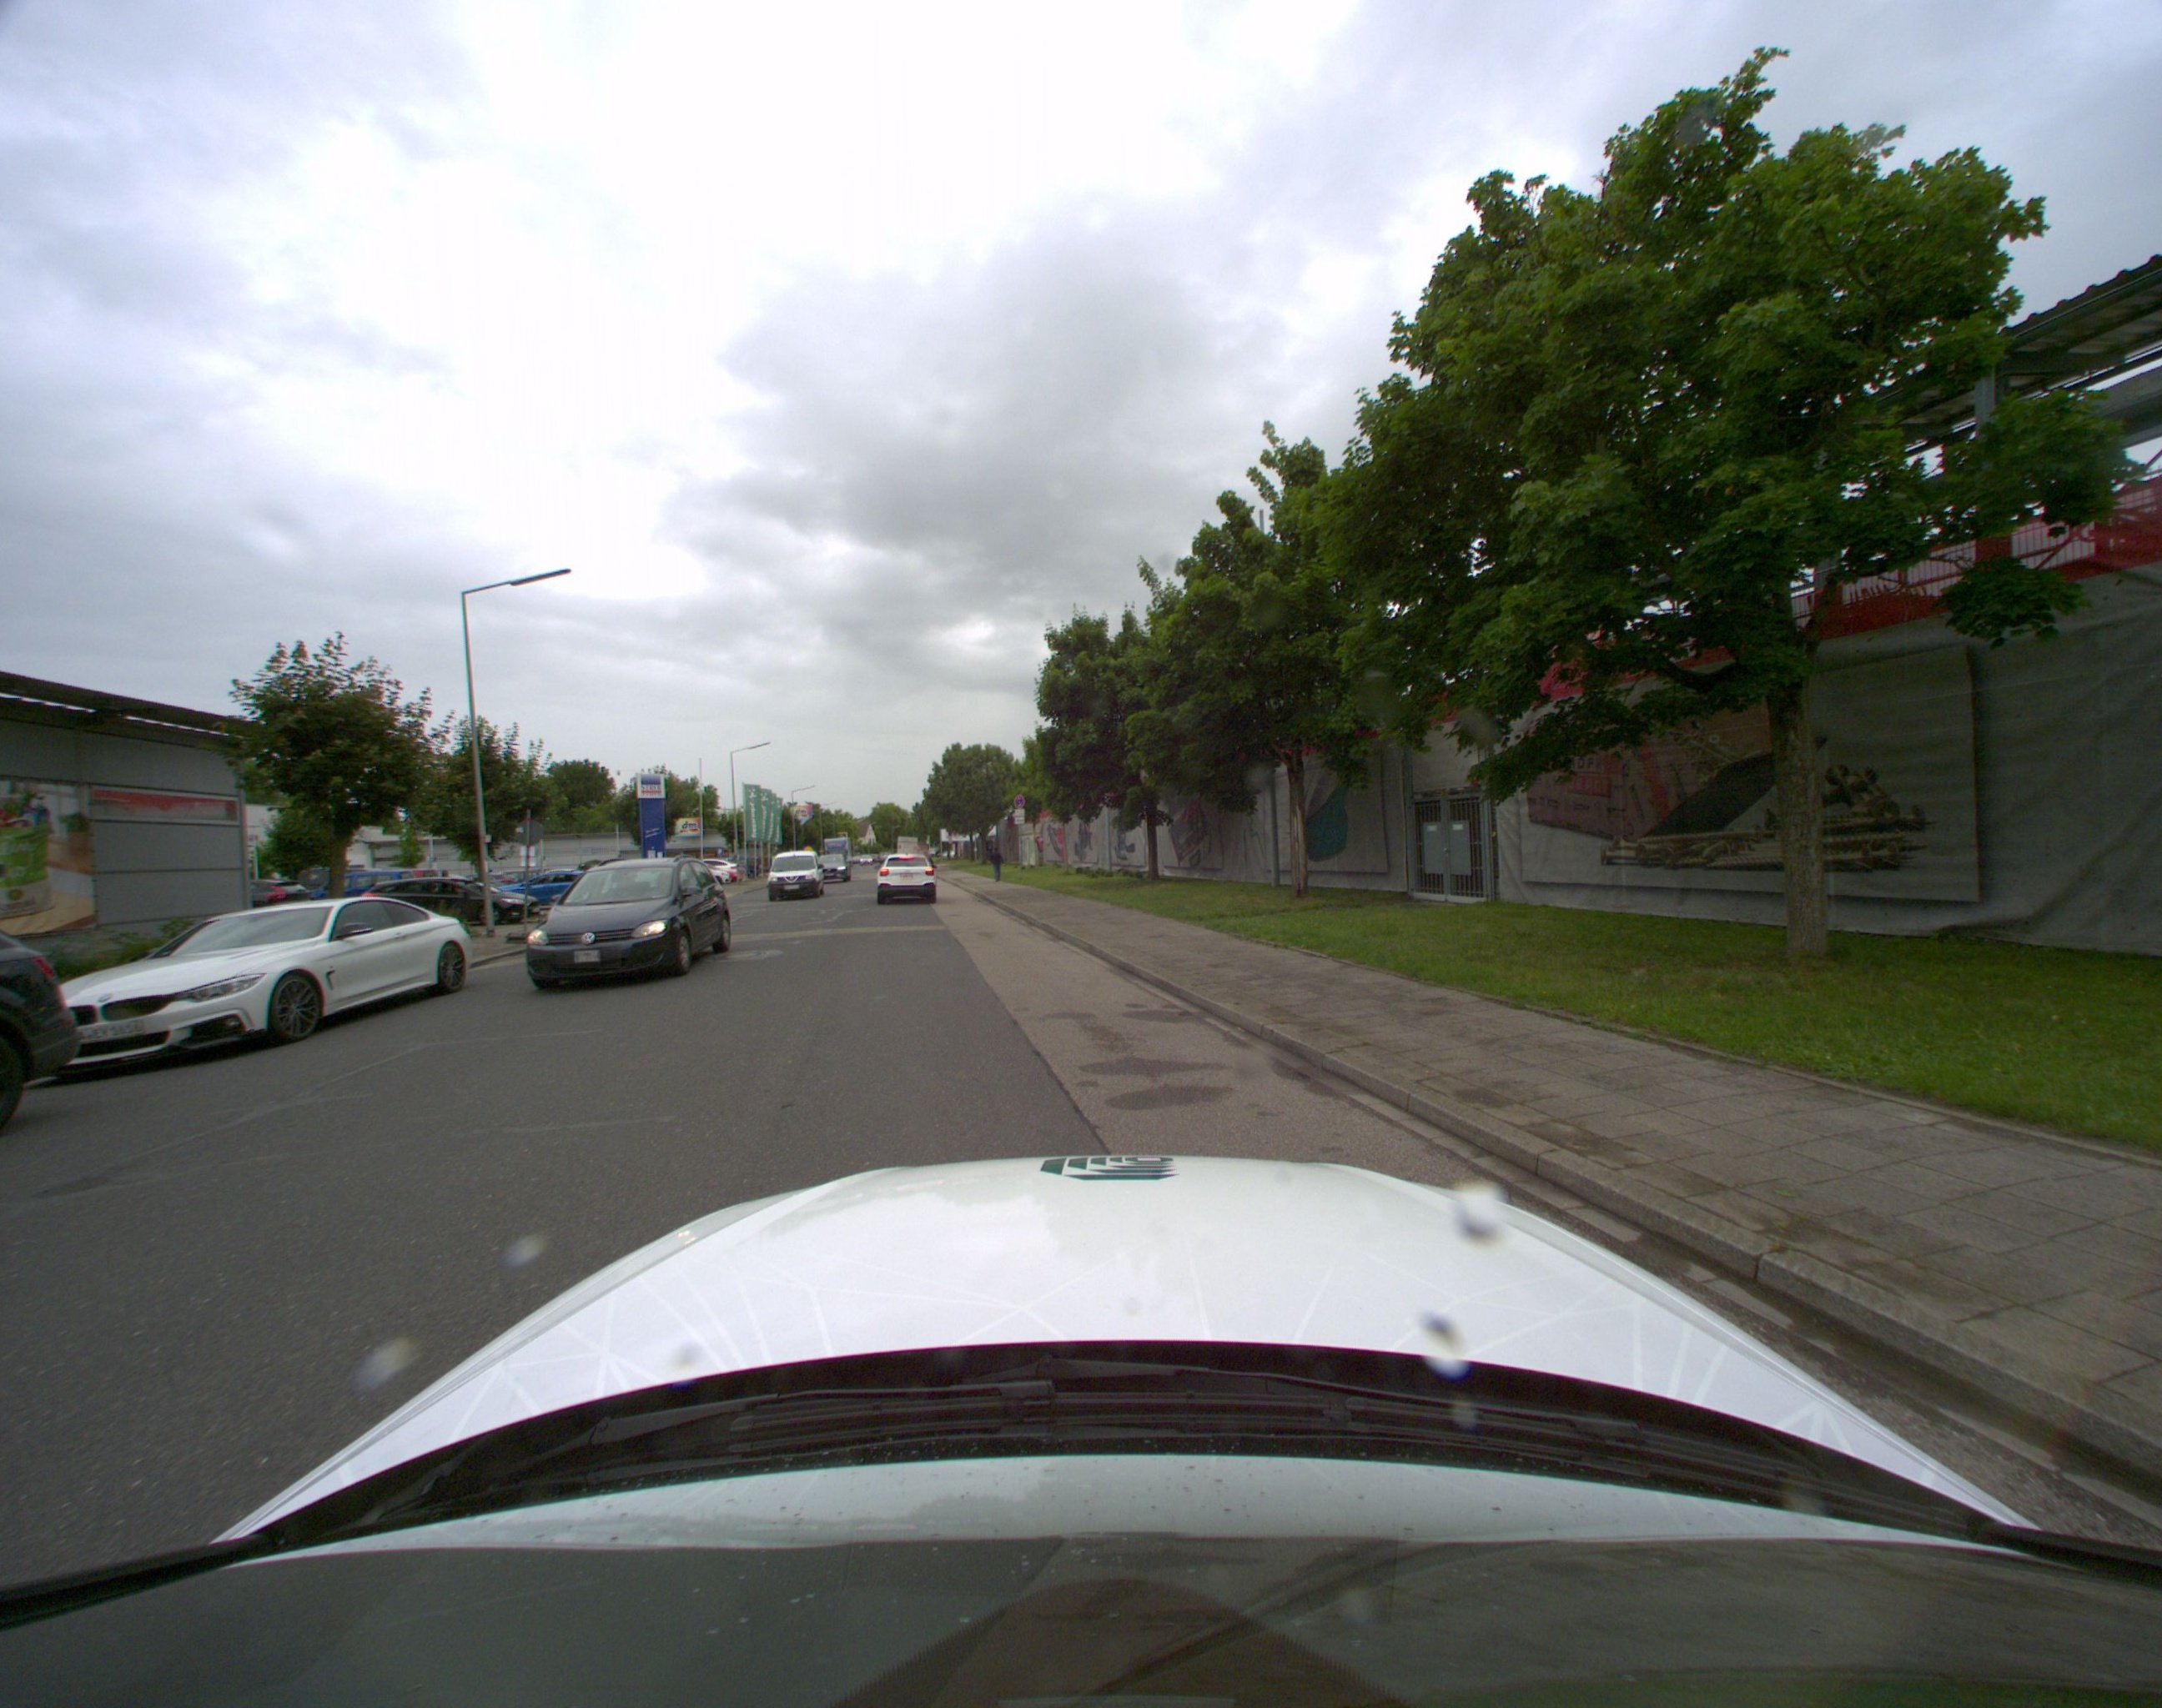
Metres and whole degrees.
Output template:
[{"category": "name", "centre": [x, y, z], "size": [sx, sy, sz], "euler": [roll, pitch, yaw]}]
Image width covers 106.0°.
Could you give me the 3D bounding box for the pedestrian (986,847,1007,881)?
[{"category": "pedestrian", "centre": [-4.107, 0.493, 39.654], "size": [0.919, 1.635, 0.849], "euler": [-1, -1, -12]}]

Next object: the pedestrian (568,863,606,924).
[{"category": "pedestrian", "centre": [-14.562, 1.149, 24.036], "size": [0.777, 1.715, 0.693], "euler": [-2, 0, -18]}]

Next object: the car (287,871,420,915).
[{"category": "car", "centre": [-32.856, 1.723, 36.892], "size": [3.992, 1.669, 1.868], "euler": [-3, 0, -14]}]

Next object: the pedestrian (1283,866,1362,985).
[{"category": "pedestrian", "centre": [3.569, 1.028, 12.084], "size": [0.825, 1.648, 0.695], "euler": [-3, 0, -14]}]

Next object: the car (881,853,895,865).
[{"category": "car", "centre": [-28.806, 0.684, 121.270], "size": [1.873, 1.662, 3.980], "euler": [-3, 1, -15]}]

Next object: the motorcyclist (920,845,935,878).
[{"category": "motorcyclist", "centre": [-7.428, 0.348, 39.430], "size": [0.625, 1.554, 0.602], "euler": [-3, 0, -12]}]

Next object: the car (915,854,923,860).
[{"category": "car", "centre": [-40.758, 0.757, 204.447], "size": [1.888, 1.683, 4.236], "euler": [0, 0, -12]}]

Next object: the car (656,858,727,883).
[{"category": "car", "centre": [-26.822, 1.128, 56.183], "size": [4.148, 1.463, 1.886], "euler": [-3, 0, -19]}]

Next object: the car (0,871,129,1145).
[{"category": "car", "centre": [-7.362, 1.061, 3.341], "size": [1.867, 1.691, 4.709], "euler": [-6, 1, -12]}]

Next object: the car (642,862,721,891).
[{"category": "car", "centre": [-25.320, 1.393, 51.776], "size": [4.219, 1.463, 1.939], "euler": [-4, 1, -21]}]

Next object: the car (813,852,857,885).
[{"category": "car", "centre": [-14.283, 0.802, 47.489], "size": [1.934, 1.683, 4.478], "euler": [-4, 1, -11]}]

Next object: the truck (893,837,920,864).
[{"category": "truck", "centre": [-23.949, -0.404, 111.432], "size": [3.140, 3.585, 10.000], "euler": [-1, 0, -14]}]

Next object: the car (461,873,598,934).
[{"category": "car", "centre": [-20.982, 1.839, 31.166], "size": [3.943, 2.013, 1.749], "euler": [-3, 0, -21]}]

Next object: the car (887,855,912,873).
[{"category": "car", "centre": [-15.539, 0.817, 69.687], "size": [1.940, 1.367, 3.981], "euler": [-3, 1, -14]}]

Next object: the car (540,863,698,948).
[{"category": "car", "centre": [-10.893, 1.116, 19.597], "size": [1.949, 1.526, 4.383], "euler": [-7, 1, -13]}]

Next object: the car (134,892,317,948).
[{"category": "car", "centre": [-30.447, 2.301, 29.158], "size": [4.003, 1.485, 1.863], "euler": [-4, 1, -22]}]

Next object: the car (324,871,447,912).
[{"category": "car", "centre": [-33.500, 1.755, 39.340], "size": [3.992, 1.669, 1.868], "euler": [-3, 0, -14]}]

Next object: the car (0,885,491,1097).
[{"category": "car", "centre": [-8.670, 1.214, 9.042], "size": [1.701, 1.367, 4.497], "euler": [-7, 2, -14]}]

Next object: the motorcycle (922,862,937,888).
[{"category": "motorcycle", "centre": [-7.367, 1.010, 39.484], "size": [0.641, 1.178, 2.105], "euler": [-3, 0, -11]}]

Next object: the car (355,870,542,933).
[{"category": "car", "centre": [-18.672, 1.365, 24.240], "size": [3.878, 1.620, 1.919], "euler": [-1, 0, -13]}]

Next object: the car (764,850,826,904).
[{"category": "car", "centre": [-10.747, 0.806, 30.880], "size": [1.692, 1.760, 4.115], "euler": [-4, 1, -14]}]

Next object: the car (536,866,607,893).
[{"category": "car", "centre": [-37.616, 1.856, 60.215], "size": [3.992, 1.669, 1.868], "euler": [-3, 0, -14]}]

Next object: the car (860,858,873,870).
[{"category": "car", "centre": [-30.503, 1.466, 115.986], "size": [1.600, 1.528, 3.512], "euler": [-4, 0, -13]}]

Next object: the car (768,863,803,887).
[{"category": "car", "centre": [-18.569, 1.279, 51.094], "size": [1.905, 1.367, 3.972], "euler": [-3, 1, -21]}]

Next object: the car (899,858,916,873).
[{"category": "car", "centre": [-21.859, 1.459, 102.596], "size": [1.997, 1.806, 3.980], "euler": [-1, 0, -14]}]

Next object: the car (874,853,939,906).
[{"category": "car", "centre": [-5.626, 0.743, 26.240], "size": [1.888, 1.531, 4.236], "euler": [0, 0, -12]}]

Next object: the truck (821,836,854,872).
[{"category": "truck", "centre": [-28.659, -0.022, 96.022], "size": [2.977, 3.955, 6.377], "euler": [-4, 1, -13]}]

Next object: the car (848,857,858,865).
[{"category": "car", "centre": [-40.003, 1.258, 142.883], "size": [1.626, 1.375, 3.436], "euler": [-1, 0, -14]}]

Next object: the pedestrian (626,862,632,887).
[{"category": "pedestrian", "centre": [-32.765, 1.484, 58.999], "size": [0.264, 1.729, 0.419], "euler": [-3, 0, -26]}]

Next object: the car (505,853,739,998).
[{"category": "car", "centre": [-6.213, 0.834, 11.563], "size": [1.731, 1.571, 3.929], "euler": [-4, 1, -13]}]
